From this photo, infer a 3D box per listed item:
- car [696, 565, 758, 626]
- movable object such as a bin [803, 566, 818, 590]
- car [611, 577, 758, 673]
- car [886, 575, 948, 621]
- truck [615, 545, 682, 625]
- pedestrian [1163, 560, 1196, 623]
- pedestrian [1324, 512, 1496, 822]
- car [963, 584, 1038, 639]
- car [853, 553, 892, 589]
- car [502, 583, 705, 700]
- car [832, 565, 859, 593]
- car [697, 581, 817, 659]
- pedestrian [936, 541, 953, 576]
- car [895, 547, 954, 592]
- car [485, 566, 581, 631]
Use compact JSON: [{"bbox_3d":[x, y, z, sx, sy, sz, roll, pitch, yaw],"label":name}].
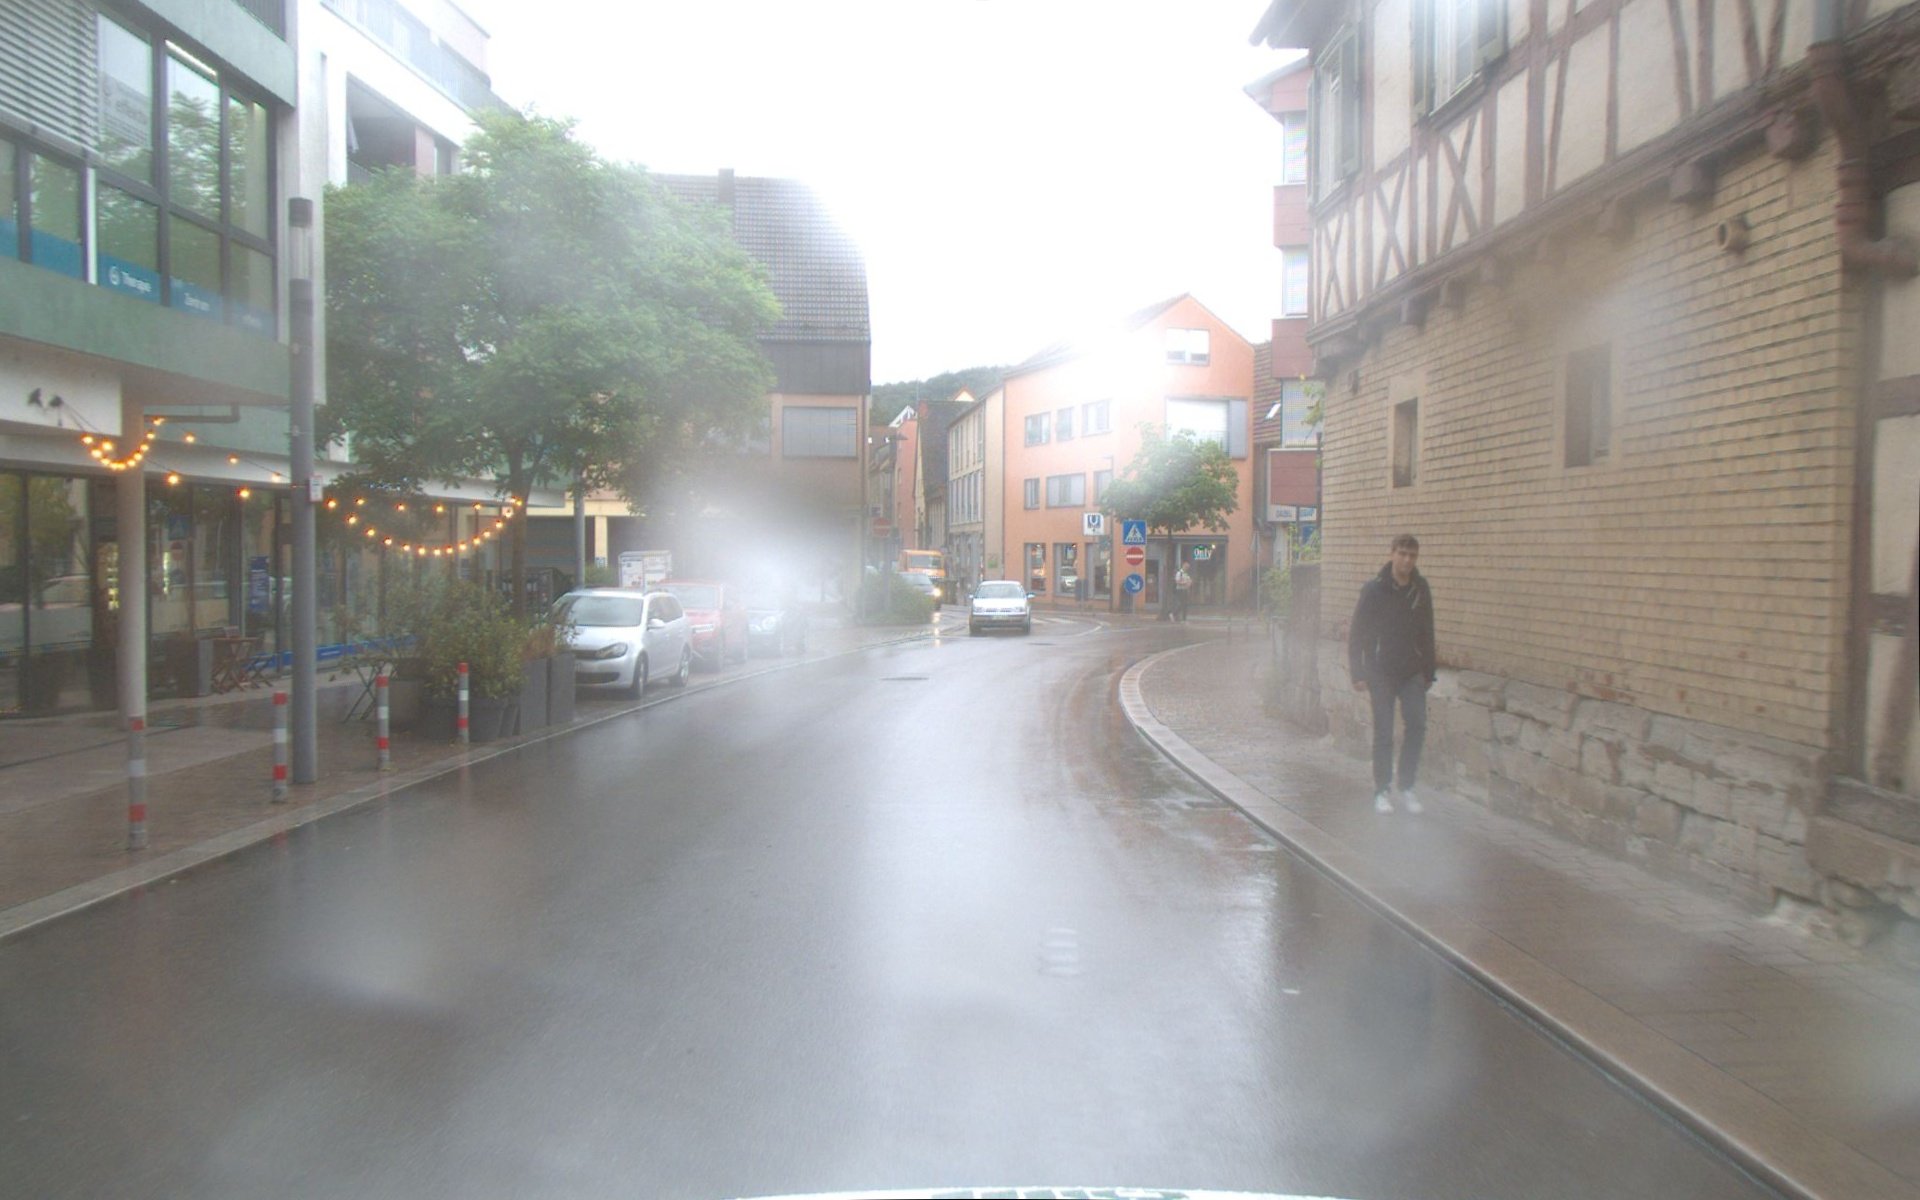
[{"bbox_3d":[-7.050,-0.167,50.333,1.546,1.504,3.824,0,6,-3],"label":"car"},{"bbox_3d":[-9.167,-1.354,101.369,0.819,1.406,0.852,0,1,-11],"label":"movable object such as a bin"},{"bbox_3d":[-4.884,0.402,29.845,1.749,1.603,4.109,0,1,3],"label":"car"},{"bbox_3d":[-1.542,-0.098,57.968,1.683,1.483,3.902,1,1,-9],"label":"car"},{"bbox_3d":[-9.402,-0.486,50.085,1.565,2.097,3.192,-2,5,-4],"label":"truck"},{"bbox_3d":[6.887,-0.277,51.812,0.844,1.948,0.757,1,1,24],"label":"pedestrian"},{"bbox_3d":[2.917,0.411,10.804,0.794,1.918,0.907,-2,1,-4],"label":"pedestrian"},{"bbox_3d":[1.128,0.288,47.680,1.755,1.442,4.026,-2,1,-4],"label":"car"},{"bbox_3d":[-5.600,-1.817,104.948,2.064,2.183,4.859,-2,1,-7],"label":"car"},{"bbox_3d":[-5.028,0.524,23.942,1.749,1.525,4.456,0,1,3],"label":"car"},{"bbox_3d":[-8.646,-1.606,124.621,1.954,2.048,4.359,-2,1,-4],"label":"car"},{"bbox_3d":[-4.208,0.379,34.841,1.678,1.483,3.913,1,1,5],"label":"car"},{"bbox_3d":[-0.910,-2.402,95.891,0.850,2.048,0.706,0,1,-10],"label":"pedestrian"},{"bbox_3d":[-1.835,-1.526,83.987,2.067,2.183,4.852,-2,1,-12],"label":"car"},{"bbox_3d":[-12.572,-0.075,48.955,1.775,1.645,4.002,0,4,0],"label":"car"}]
